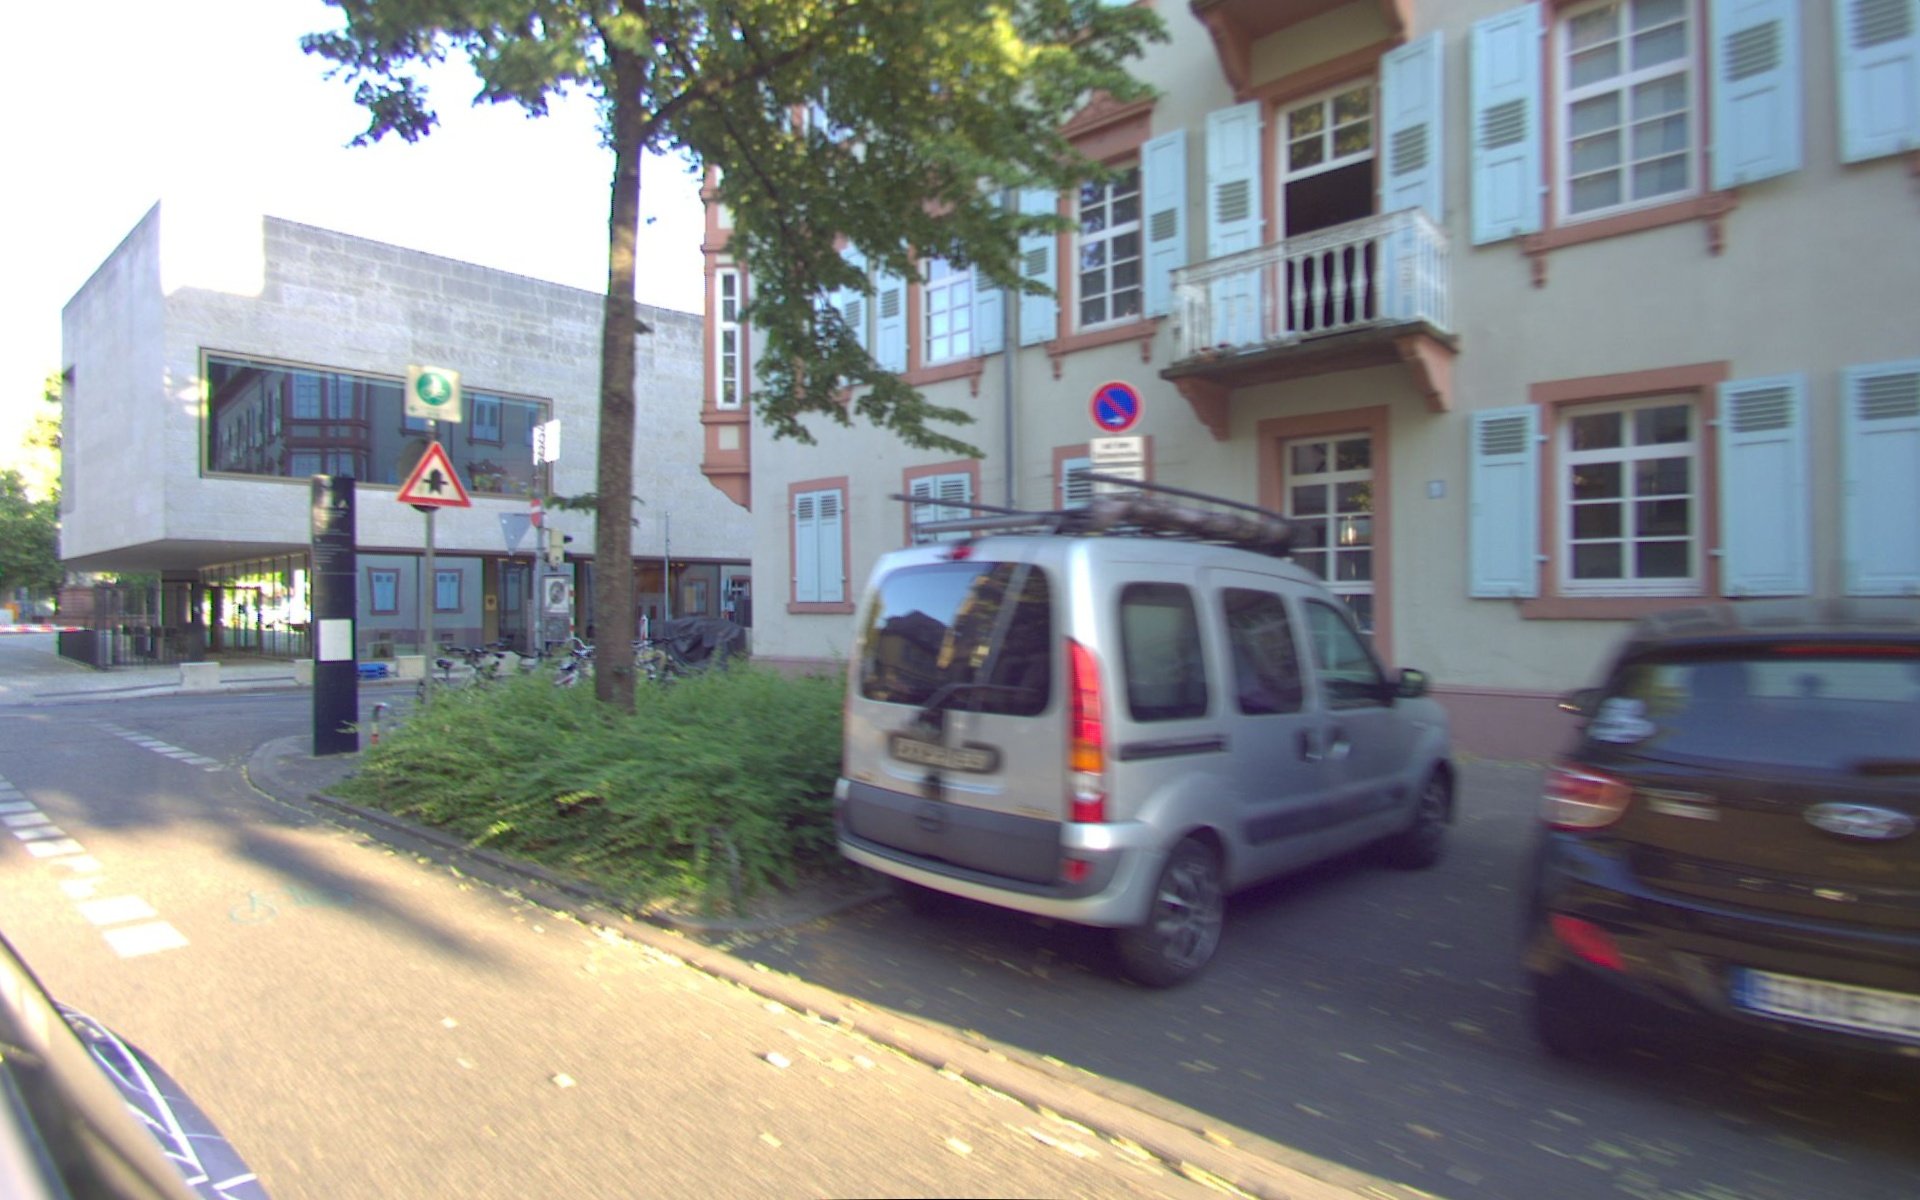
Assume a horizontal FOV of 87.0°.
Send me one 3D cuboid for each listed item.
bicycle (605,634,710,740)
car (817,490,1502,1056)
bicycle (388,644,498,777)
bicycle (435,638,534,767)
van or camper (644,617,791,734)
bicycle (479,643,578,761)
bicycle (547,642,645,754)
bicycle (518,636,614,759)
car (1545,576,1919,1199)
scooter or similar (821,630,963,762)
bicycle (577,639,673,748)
[{"bbox_3d":[-3.453,0.955,11.495,1.597,1.090,0.391,-1,1,44],"label":"bicycle"},{"bbox_3d":[1.282,0.590,5.282,3.767,1.863,1.701,1,-1,-45],"label":"car"},{"bbox_3d":[-4.999,1.011,9.737,1.713,1.116,0.391,0,1,44],"label":"bicycle"},{"bbox_3d":[-4.727,0.975,10.017,1.597,1.149,0.327,-1,1,44],"label":"bicycle"},{"bbox_3d":[-2.984,0.862,12.344,0.930,1.269,1.847,-1,0,-44],"label":"van or camper"},{"bbox_3d":[-4.444,1.008,10.373,1.597,1.090,0.315,-1,1,44],"label":"bicycle"},{"bbox_3d":[-3.939,1.016,10.891,1.597,1.090,0.336,-1,-1,44],"label":"bicycle"},{"bbox_3d":[-4.158,0.979,10.625,1.613,1.157,0.308,0,0,44],"label":"bicycle"},{"bbox_3d":[3.665,0.717,3.715,3.606,1.526,1.650,1,-1,-43],"label":"car"},{"bbox_3d":[-0.704,0.928,10.290,1.394,1.231,0.668,-1,-2,42],"label":"scooter or similar"},{"bbox_3d":[-3.726,1.003,11.204,1.597,1.090,0.318,0,0,44],"label":"bicycle"}]
